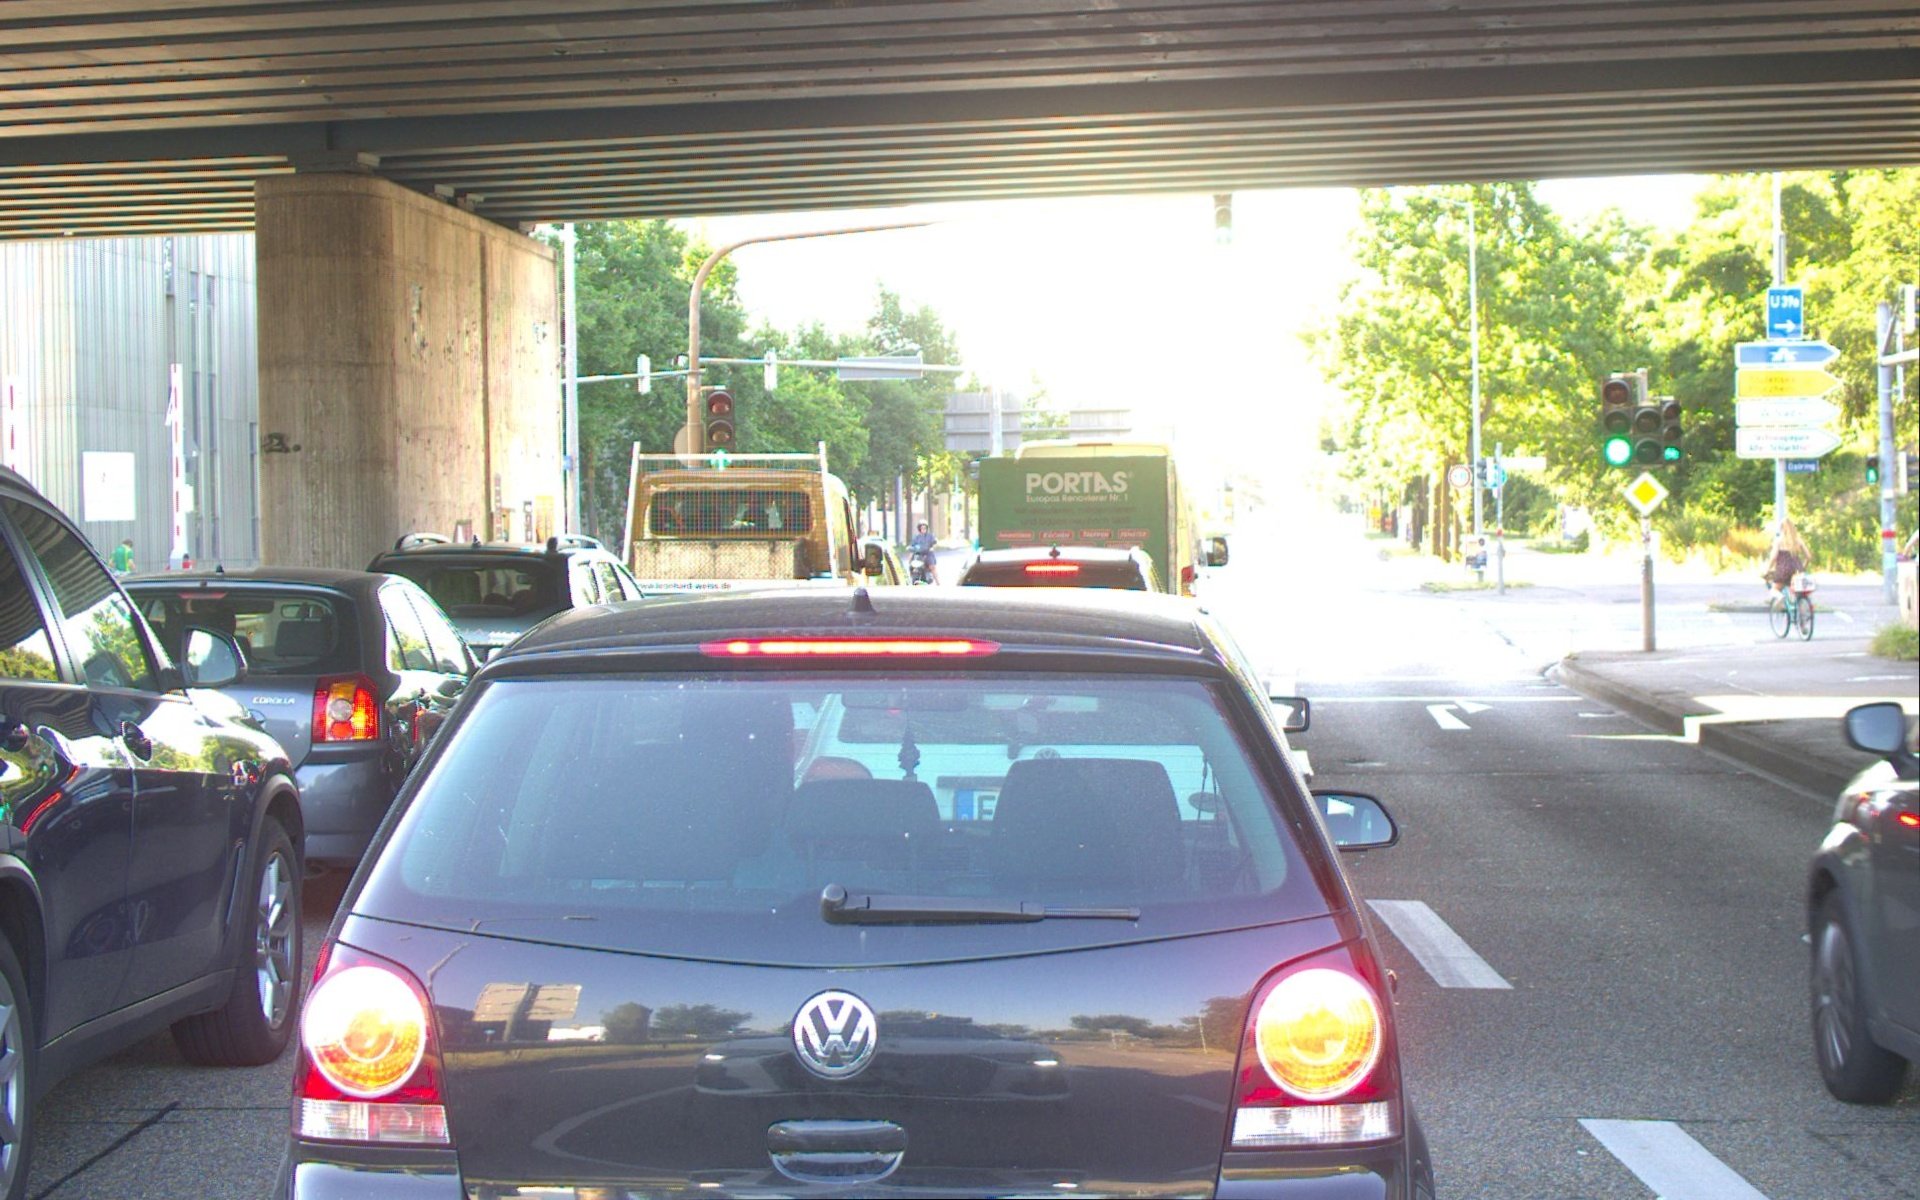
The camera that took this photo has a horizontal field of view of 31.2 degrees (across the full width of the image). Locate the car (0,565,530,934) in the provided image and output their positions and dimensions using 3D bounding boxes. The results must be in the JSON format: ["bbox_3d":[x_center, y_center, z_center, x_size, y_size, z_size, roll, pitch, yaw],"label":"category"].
[{"bbox_3d":[-2.933,0.559,15.131,1.616,1.405,3.683,1,1,0],"label":"car"}]

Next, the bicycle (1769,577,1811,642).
[{"bbox_3d":[11.973,0.126,49.609,0.437,0.911,1.026,-2,0,6],"label":"bicycle"}]

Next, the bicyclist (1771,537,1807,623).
[{"bbox_3d":[11.959,-0.290,49.592,0.427,1.229,0.460,-1,0,6],"label":"bicyclist"}]

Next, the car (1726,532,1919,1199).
[{"bbox_3d":[3.208,0.657,8.529,1.737,1.625,4.062,1,1,1],"label":"car"}]

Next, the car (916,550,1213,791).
[{"bbox_3d":[0.825,0.443,24.525,1.796,1.553,3.999,1,1,6],"label":"car"}]

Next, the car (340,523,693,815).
[{"bbox_3d":[-2.720,0.383,21.813,1.616,1.673,3.683,1,1,2],"label":"car"}]

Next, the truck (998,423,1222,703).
[{"bbox_3d":[1.588,-0.374,34.972,1.996,2.659,3.999,1,1,6],"label":"truck"}]

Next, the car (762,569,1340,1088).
[{"bbox_3d":[0.279,0.614,11.534,1.578,1.408,4.062,1,1,1],"label":"car"}]

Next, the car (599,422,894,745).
[{"bbox_3d":[-1.771,-0.158,30.231,2.137,2.567,5.087,1,1,1],"label":"car"}]

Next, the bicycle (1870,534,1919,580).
[{"bbox_3d":[21.346,-0.979,77.192,1.664,0.988,0.577,-1,4,23],"label":"bicycle"}]

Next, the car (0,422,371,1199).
[{"bbox_3d":[-2.925,0.473,8.327,1.994,1.728,4.532,1,1,3],"label":"car"}]

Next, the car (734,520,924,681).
[{"bbox_3d":[-1.400,-0.009,38.032,1.617,1.673,3.682,1,1,5],"label":"car"}]

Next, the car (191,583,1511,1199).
[{"bbox_3d":[-0.156,0.692,6.080,1.616,1.405,3.683,1,1,-1],"label":"car"}]

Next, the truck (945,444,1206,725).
[{"bbox_3d":[1.098,-0.148,30.528,1.996,2.307,3.999,1,1,6],"label":"truck"}]

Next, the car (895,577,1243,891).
[{"bbox_3d":[0.526,0.600,17.831,1.578,1.408,4.062,1,1,1],"label":"car"}]
